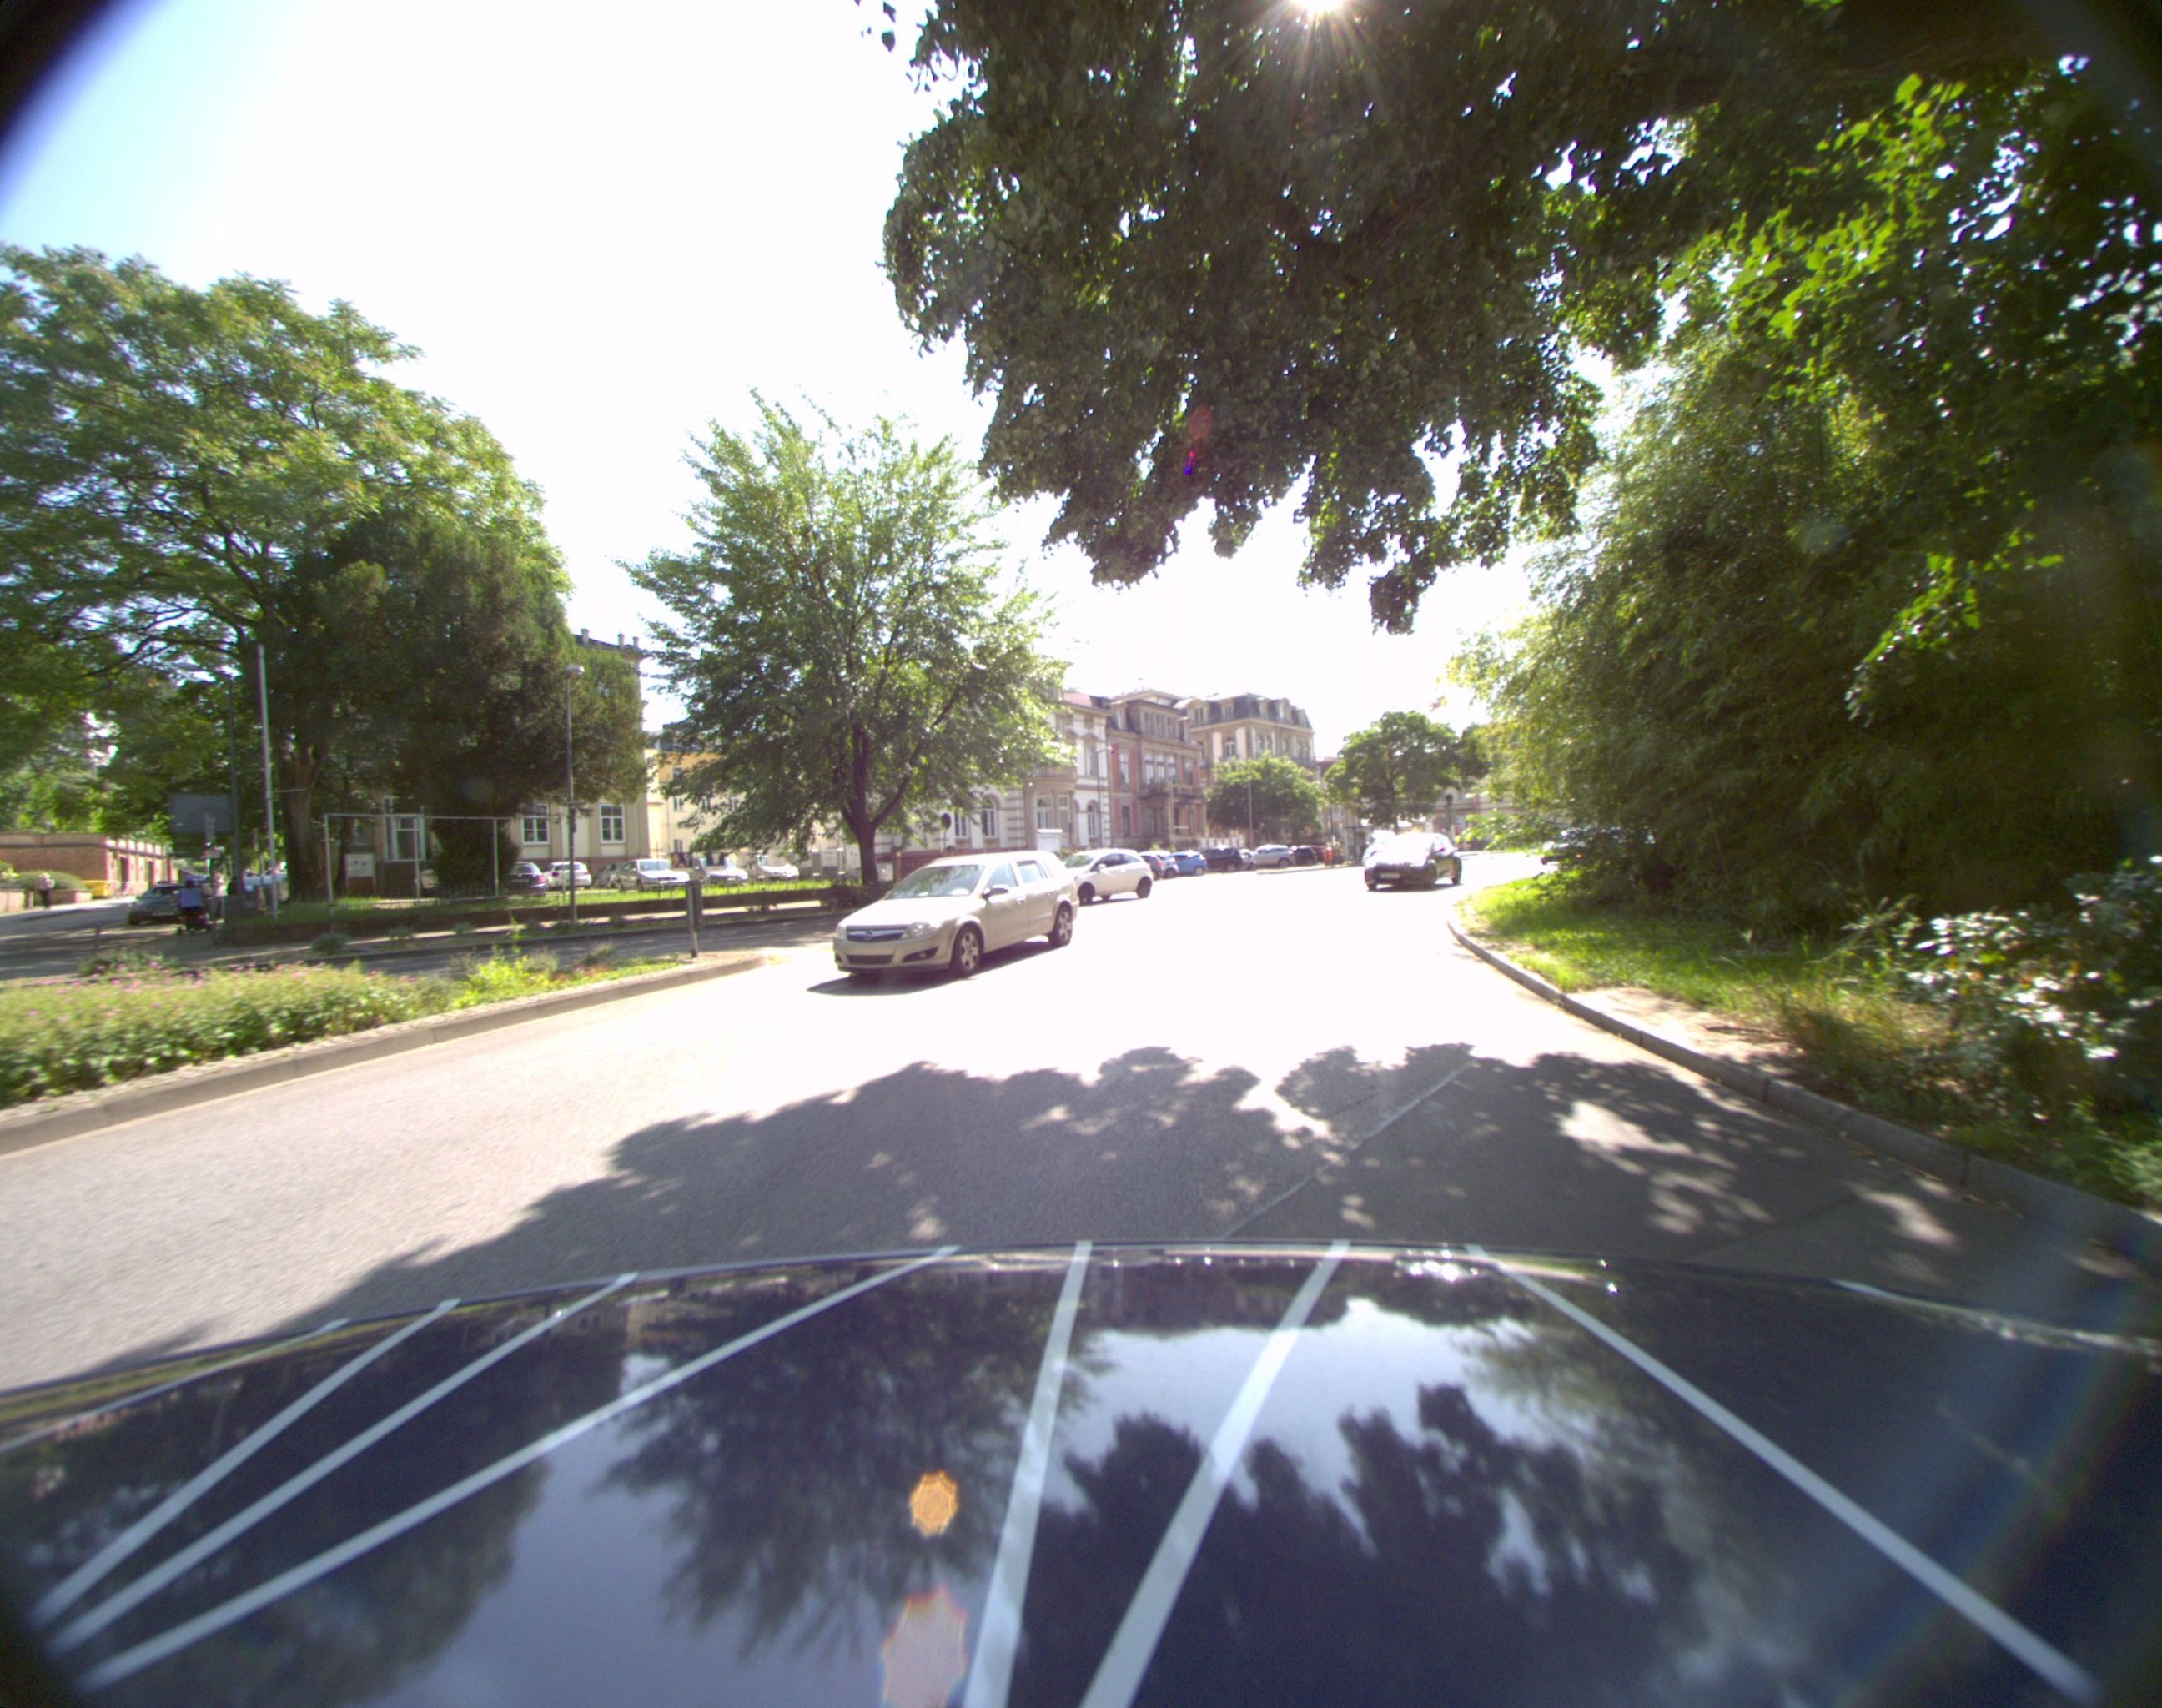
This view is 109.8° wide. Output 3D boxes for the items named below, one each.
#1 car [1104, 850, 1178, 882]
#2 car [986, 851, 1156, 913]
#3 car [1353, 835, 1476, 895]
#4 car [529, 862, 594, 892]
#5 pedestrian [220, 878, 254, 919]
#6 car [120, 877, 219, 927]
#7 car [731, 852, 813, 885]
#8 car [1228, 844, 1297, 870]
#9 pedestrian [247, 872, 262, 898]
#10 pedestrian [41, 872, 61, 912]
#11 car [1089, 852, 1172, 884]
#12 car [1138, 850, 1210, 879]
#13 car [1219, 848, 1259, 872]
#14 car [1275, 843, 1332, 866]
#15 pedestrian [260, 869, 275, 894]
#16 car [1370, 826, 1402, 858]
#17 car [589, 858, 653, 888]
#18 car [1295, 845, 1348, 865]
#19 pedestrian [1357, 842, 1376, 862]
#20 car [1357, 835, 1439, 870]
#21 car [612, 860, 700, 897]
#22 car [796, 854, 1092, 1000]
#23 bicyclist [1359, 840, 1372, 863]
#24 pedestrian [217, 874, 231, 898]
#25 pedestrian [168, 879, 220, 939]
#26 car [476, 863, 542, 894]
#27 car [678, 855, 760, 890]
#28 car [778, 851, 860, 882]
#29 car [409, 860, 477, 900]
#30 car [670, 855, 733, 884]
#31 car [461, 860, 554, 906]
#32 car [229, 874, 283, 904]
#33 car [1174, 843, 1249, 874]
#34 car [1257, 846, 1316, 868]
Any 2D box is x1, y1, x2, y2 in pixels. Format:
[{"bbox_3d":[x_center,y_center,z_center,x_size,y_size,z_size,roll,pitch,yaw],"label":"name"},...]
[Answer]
[{"bbox_3d":[3.283,0.662,41.992,3.810,1.502,1.713,-3,0,-4],"label":"car"},{"bbox_3d":[-0.166,0.709,21.264,1.994,1.429,4.761,-2,1,42],"label":"car"},{"bbox_3d":[9.446,0.245,21.348,1.787,1.443,4.288,-1,1,43],"label":"car"},{"bbox_3d":[-26.065,1.156,38.089,4.078,1.328,1.825,-2,1,44],"label":"car"},{"bbox_3d":[-32.825,1.729,29.557,0.772,1.537,0.665,-3,1,-42],"label":"pedestrian"},{"bbox_3d":[-34.119,1.736,28.547,1.837,1.637,4.122,-3,0,-43],"label":"car"},{"bbox_3d":[-13.944,0.652,34.162,4.042,1.328,1.864,-2,1,44],"label":"car"},{"bbox_3d":[12.709,0.209,53.381,4.314,1.620,1.713,-3,0,-4],"label":"car"},{"bbox_3d":[-65.255,2.411,60.003,0.724,2.002,0.859,-3,1,-45],"label":"pedestrian"},{"bbox_3d":[-52.508,1.909,38.720,0.578,2.002,0.494,-1,1,41],"label":"pedestrian"},{"bbox_3d":[2.537,0.714,39.695,4.104,1.453,1.828,-3,0,0],"label":"car"},{"bbox_3d":[5.417,0.595,44.450,3.811,1.433,1.713,-3,0,-7],"label":"car"},{"bbox_3d":[10.518,0.411,50.562,2.289,1.474,1.200,-3,0,-10],"label":"car"},{"bbox_3d":[17.361,0.057,59.458,3.875,1.566,1.750,-3,0,0],"label":"car"},{"bbox_3d":[-68.634,2.312,64.108,0.724,2.002,0.859,-3,1,-45],"label":"pedestrian"},{"bbox_3d":[27.244,-1.044,68.040,1.996,2.588,5.324,-3,0,16],"label":"car"},{"bbox_3d":[-24.075,0.998,39.719,4.051,1.411,1.825,-2,1,44],"label":"car"},{"bbox_3d":[19.527,0.053,61.692,3.698,1.410,1.749,-3,0,0],"label":"car"},{"bbox_3d":[18.392,-0.141,48.982,1.019,1.190,0.793,-3,0,26],"label":"pedestrian"},{"bbox_3d":[14.974,-0.089,35.749,4.288,1.504,1.787,-3,1,-41],"label":"car"},{"bbox_3d":[-17.256,0.990,30.752,4.468,1.328,1.825,-2,1,44],"label":"car"},{"bbox_3d":[-1.606,0.847,10.717,1.716,1.491,4.497,-3,0,25],"label":"car"},{"bbox_3d":[21.147,-0.185,56.487,0.685,1.597,0.592,-3,0,-45],"label":"bicyclist"},{"bbox_3d":[-75.662,2.817,67.063,0.724,2.002,0.859,-3,1,-45],"label":"pedestrian"},{"bbox_3d":[-24.769,1.516,21.237,0.743,1.572,1.120,-4,2,-42],"label":"pedestrian"},{"bbox_3d":[-27.473,1.185,36.446,4.042,1.328,1.825,-2,1,44],"label":"car"},{"bbox_3d":[-15.563,0.804,32.588,4.087,1.328,1.825,-2,1,44],"label":"car"},{"bbox_3d":[-12.423,0.610,35.875,4.042,1.328,1.995,-2,1,44],"label":"car"},{"bbox_3d":[-28.745,1.156,34.206,4.310,1.594,1.825,-2,1,44],"label":"car"},{"bbox_3d":[-21.592,0.878,43.156,4.051,1.501,1.869,-2,1,44],"label":"car"},{"bbox_3d":[-20.959,1.057,27.712,4.145,1.467,1.881,-2,1,42],"label":"car"},{"bbox_3d":[-49.136,2.059,45.323,1.837,1.637,4.122,-3,0,-43],"label":"car"},{"bbox_3d":[8.150,0.288,47.553,4.273,1.686,1.713,-3,0,-7],"label":"car"},{"bbox_3d":[15.214,0.248,56.364,3.818,1.409,1.606,-3,0,0],"label":"car"}]
